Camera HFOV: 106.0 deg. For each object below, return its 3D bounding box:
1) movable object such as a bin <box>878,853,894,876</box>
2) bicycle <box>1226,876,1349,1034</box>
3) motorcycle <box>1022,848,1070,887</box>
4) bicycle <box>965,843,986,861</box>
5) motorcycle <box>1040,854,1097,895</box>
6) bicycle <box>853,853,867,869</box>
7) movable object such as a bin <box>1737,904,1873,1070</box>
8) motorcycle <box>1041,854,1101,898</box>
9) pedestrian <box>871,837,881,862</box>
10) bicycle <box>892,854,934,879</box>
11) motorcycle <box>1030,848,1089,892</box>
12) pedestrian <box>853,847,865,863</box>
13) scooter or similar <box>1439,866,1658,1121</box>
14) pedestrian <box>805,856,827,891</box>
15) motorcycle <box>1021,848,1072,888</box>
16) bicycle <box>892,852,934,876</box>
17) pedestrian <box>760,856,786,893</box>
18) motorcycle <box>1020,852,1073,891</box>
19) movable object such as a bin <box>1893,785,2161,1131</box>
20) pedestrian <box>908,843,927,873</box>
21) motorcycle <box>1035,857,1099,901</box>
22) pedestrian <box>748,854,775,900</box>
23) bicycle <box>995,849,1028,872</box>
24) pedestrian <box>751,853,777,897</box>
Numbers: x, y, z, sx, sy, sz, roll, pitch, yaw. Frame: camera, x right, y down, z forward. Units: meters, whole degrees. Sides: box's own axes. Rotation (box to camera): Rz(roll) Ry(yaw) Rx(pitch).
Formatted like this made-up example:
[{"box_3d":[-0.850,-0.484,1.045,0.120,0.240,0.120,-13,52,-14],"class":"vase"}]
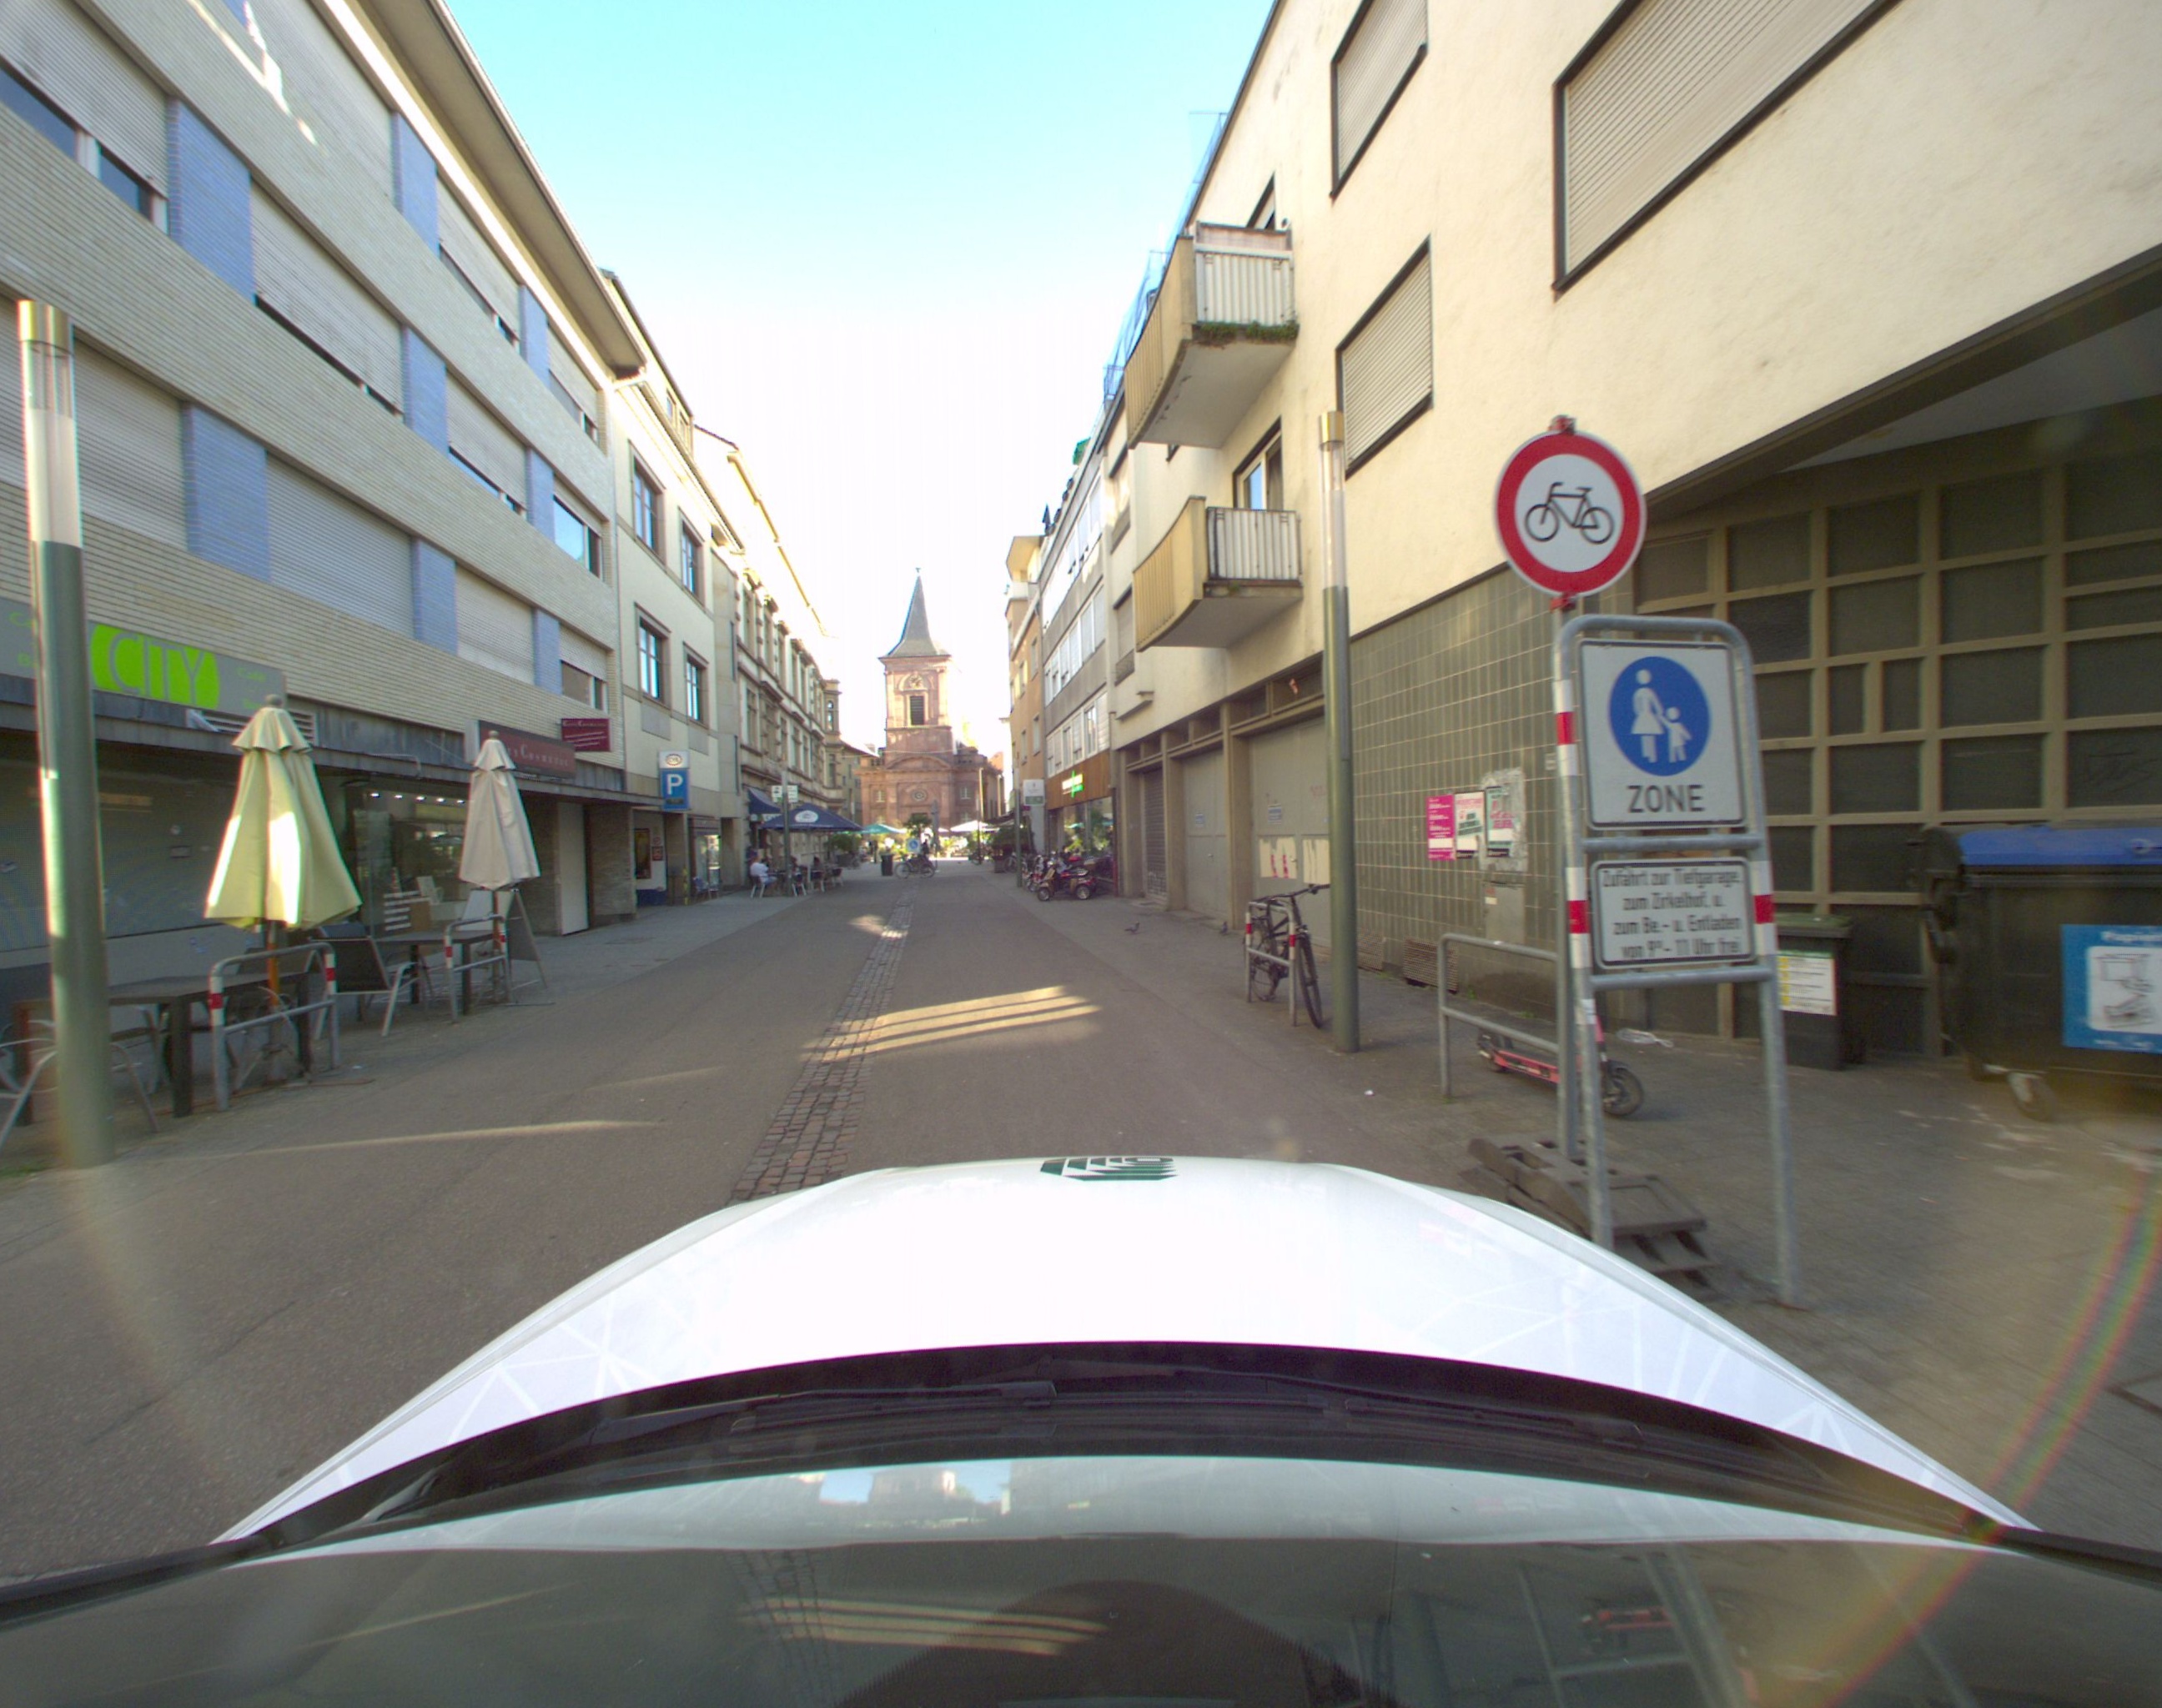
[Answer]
[{"box_3d":[-9.482,0.516,39.585,0.722,1.074,0.372,-3,1,-13],"class":"movable object such as a bin"},{"box_3d":[1.720,0.790,7.031,0.446,1.140,1.706,-2,0,-5],"class":"bicycle"},{"box_3d":[-1.137,0.433,26.428,1.477,1.181,0.413,-3,1,4],"class":"motorcycle"},{"box_3d":[-8.109,-0.148,62.613,1.599,1.308,0.361,-3,1,-40],"class":"bicycle"},{"box_3d":[-0.348,0.570,22.642,1.476,1.075,0.413,-3,1,7],"class":"motorcycle"},{"box_3d":[-13.051,0.394,48.073,0.456,0.849,2.141,-2,1,-7],"class":"bicycle"},{"box_3d":[4.522,0.799,5.119,0.534,0.923,0.516,-2,1,32],"class":"movable object such as a bin"},{"box_3d":[-0.256,0.580,21.648,1.508,1.075,0.413,-3,1,7],"class":"motorcycle"},{"box_3d":[-14.746,-0.338,58.639,0.616,1.808,0.612,-2,1,-15],"class":"pedestrian"},{"box_3d":[-7.555,0.561,36.642,1.826,1.004,0.379,-2,1,-15],"class":"bicycle"},{"box_3d":[-0.615,0.460,23.791,1.616,1.175,0.481,-3,1,7],"class":"motorcycle"},{"box_3d":[-16.797,0.080,61.641,0.699,1.217,0.718,-2,1,-5],"class":"pedestrian"},{"box_3d":[2.653,0.716,4.747,0.307,1.252,1.233,-2,1,-14],"class":"scooter or similar"},{"box_3d":[-9.507,0.680,29.166,0.694,1.215,0.579,-3,1,-19],"class":"pedestrian"},{"box_3d":[-1.061,0.428,25.342,1.477,1.181,0.413,-3,1,4],"class":"motorcycle"},{"box_3d":[-7.651,0.461,37.035,1.826,1.004,0.379,-2,1,-15],"class":"bicycle"},{"box_3d":[-10.682,0.698,28.259,0.767,1.233,0.826,-3,1,-19],"class":"pedestrian"},{"box_3d":[-1.040,0.521,24.575,1.476,1.075,0.413,-3,1,7],"class":"motorcycle"},{"box_3d":[5.276,0.456,4.235,1.275,1.589,1.163,-1,3,34],"class":"movable object such as a bin"},{"box_3d":[-8.231,0.195,41.072,0.884,1.464,0.728,-2,1,-10],"class":"pedestrian"},{"box_3d":[-0.356,0.646,20.830,1.555,1.041,0.373,-3,1,7],"class":"motorcycle"},{"box_3d":[-10.056,0.704,25.604,0.711,1.368,0.714,-3,1,-23],"class":"pedestrian"},{"box_3d":[-3.162,0.284,36.982,1.460,1.004,0.572,-2,1,-4],"class":"bicycle"},{"box_3d":[-10.328,0.670,26.548,0.721,1.368,0.705,-3,1,-23],"class":"pedestrian"}]
